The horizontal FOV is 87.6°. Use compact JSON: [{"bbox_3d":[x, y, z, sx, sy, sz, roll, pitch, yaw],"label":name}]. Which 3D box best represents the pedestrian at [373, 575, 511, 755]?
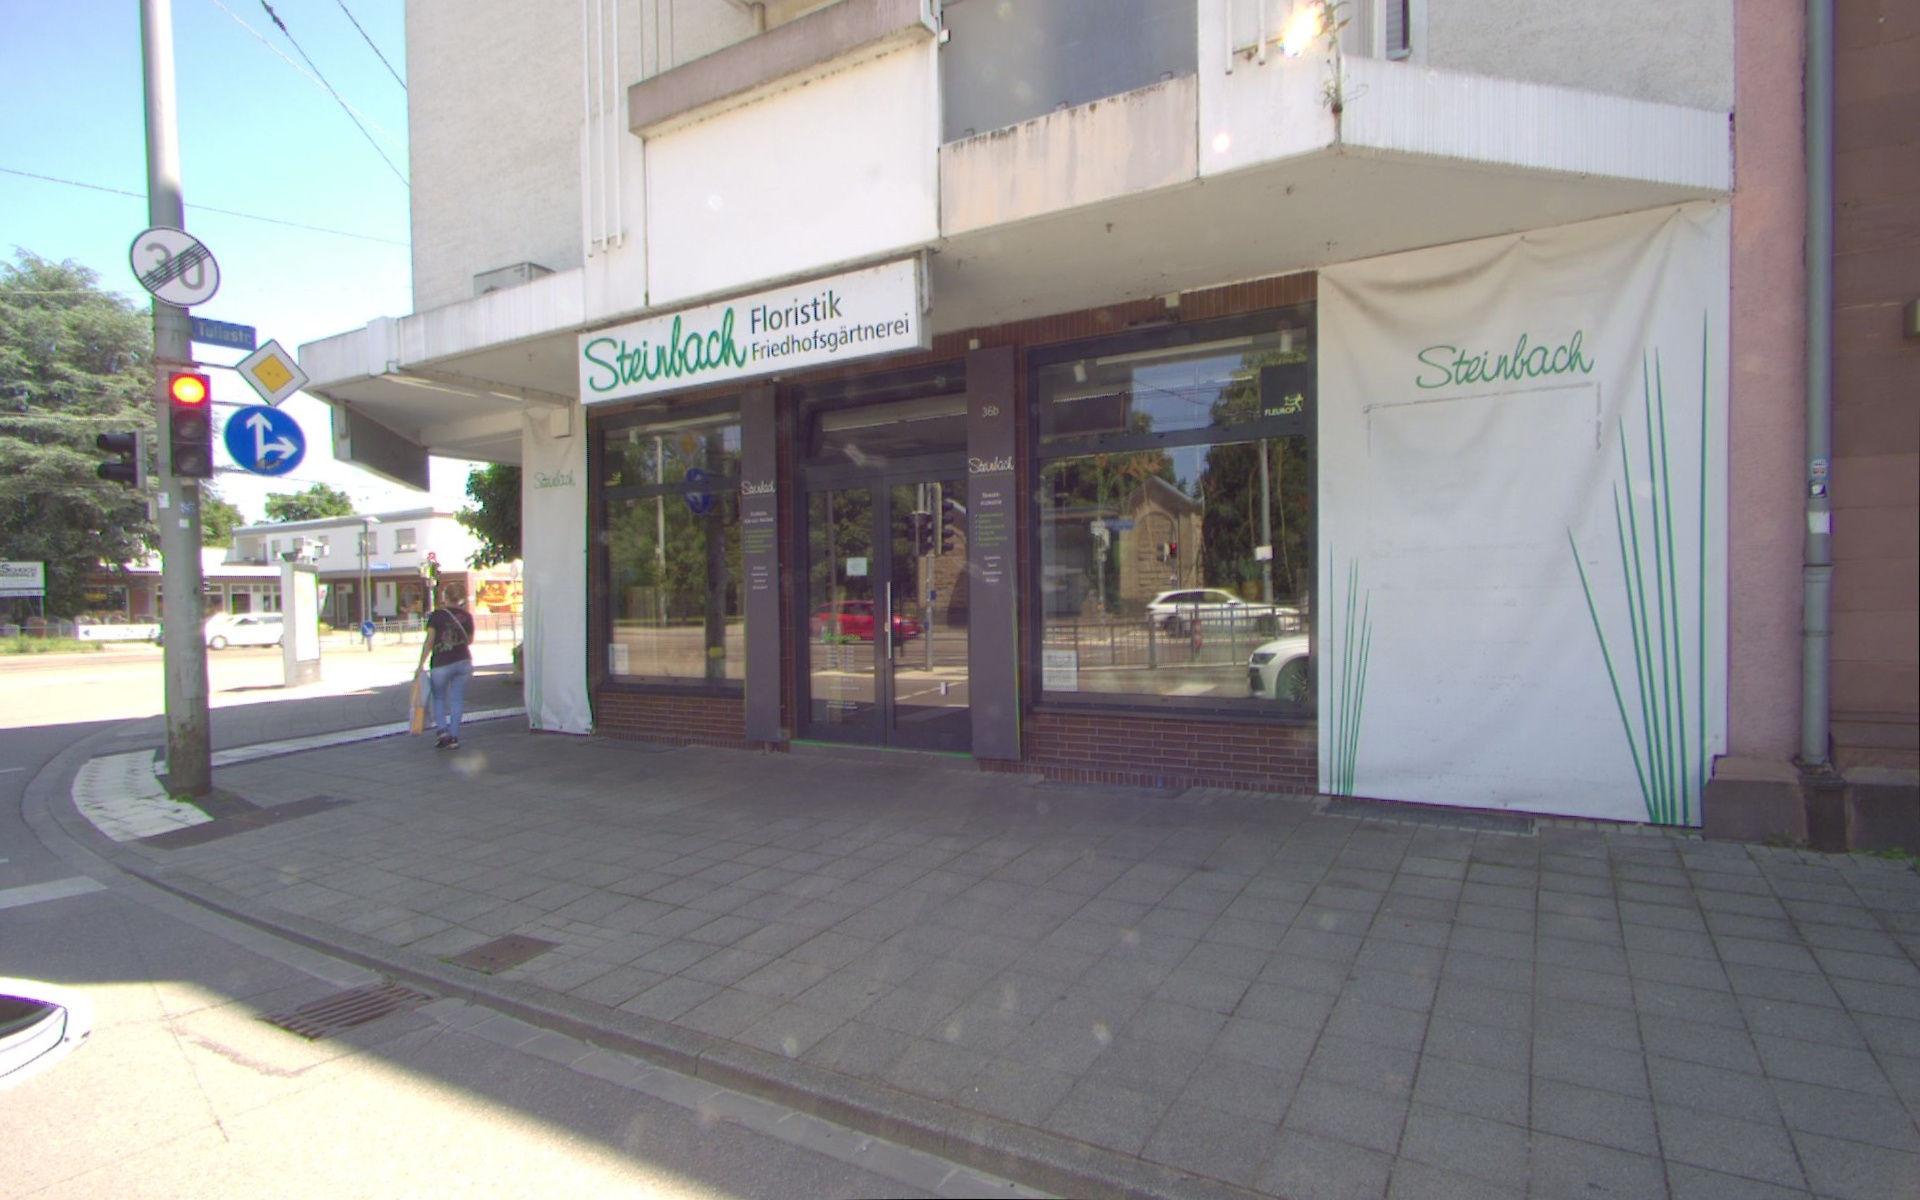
[{"bbox_3d":[-4.998,0.588,9.682,0.816,1.606,0.822,0,4,38],"label":"pedestrian"}]

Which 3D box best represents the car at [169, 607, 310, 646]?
[{"bbox_3d":[-30.112,1.070,41.998,1.796,1.509,4.480,0,0,28],"label":"car"}]

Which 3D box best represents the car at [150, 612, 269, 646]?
[{"bbox_3d":[-32.672,1.218,43.695,1.619,1.369,3.820,0,0,33],"label":"car"}]
